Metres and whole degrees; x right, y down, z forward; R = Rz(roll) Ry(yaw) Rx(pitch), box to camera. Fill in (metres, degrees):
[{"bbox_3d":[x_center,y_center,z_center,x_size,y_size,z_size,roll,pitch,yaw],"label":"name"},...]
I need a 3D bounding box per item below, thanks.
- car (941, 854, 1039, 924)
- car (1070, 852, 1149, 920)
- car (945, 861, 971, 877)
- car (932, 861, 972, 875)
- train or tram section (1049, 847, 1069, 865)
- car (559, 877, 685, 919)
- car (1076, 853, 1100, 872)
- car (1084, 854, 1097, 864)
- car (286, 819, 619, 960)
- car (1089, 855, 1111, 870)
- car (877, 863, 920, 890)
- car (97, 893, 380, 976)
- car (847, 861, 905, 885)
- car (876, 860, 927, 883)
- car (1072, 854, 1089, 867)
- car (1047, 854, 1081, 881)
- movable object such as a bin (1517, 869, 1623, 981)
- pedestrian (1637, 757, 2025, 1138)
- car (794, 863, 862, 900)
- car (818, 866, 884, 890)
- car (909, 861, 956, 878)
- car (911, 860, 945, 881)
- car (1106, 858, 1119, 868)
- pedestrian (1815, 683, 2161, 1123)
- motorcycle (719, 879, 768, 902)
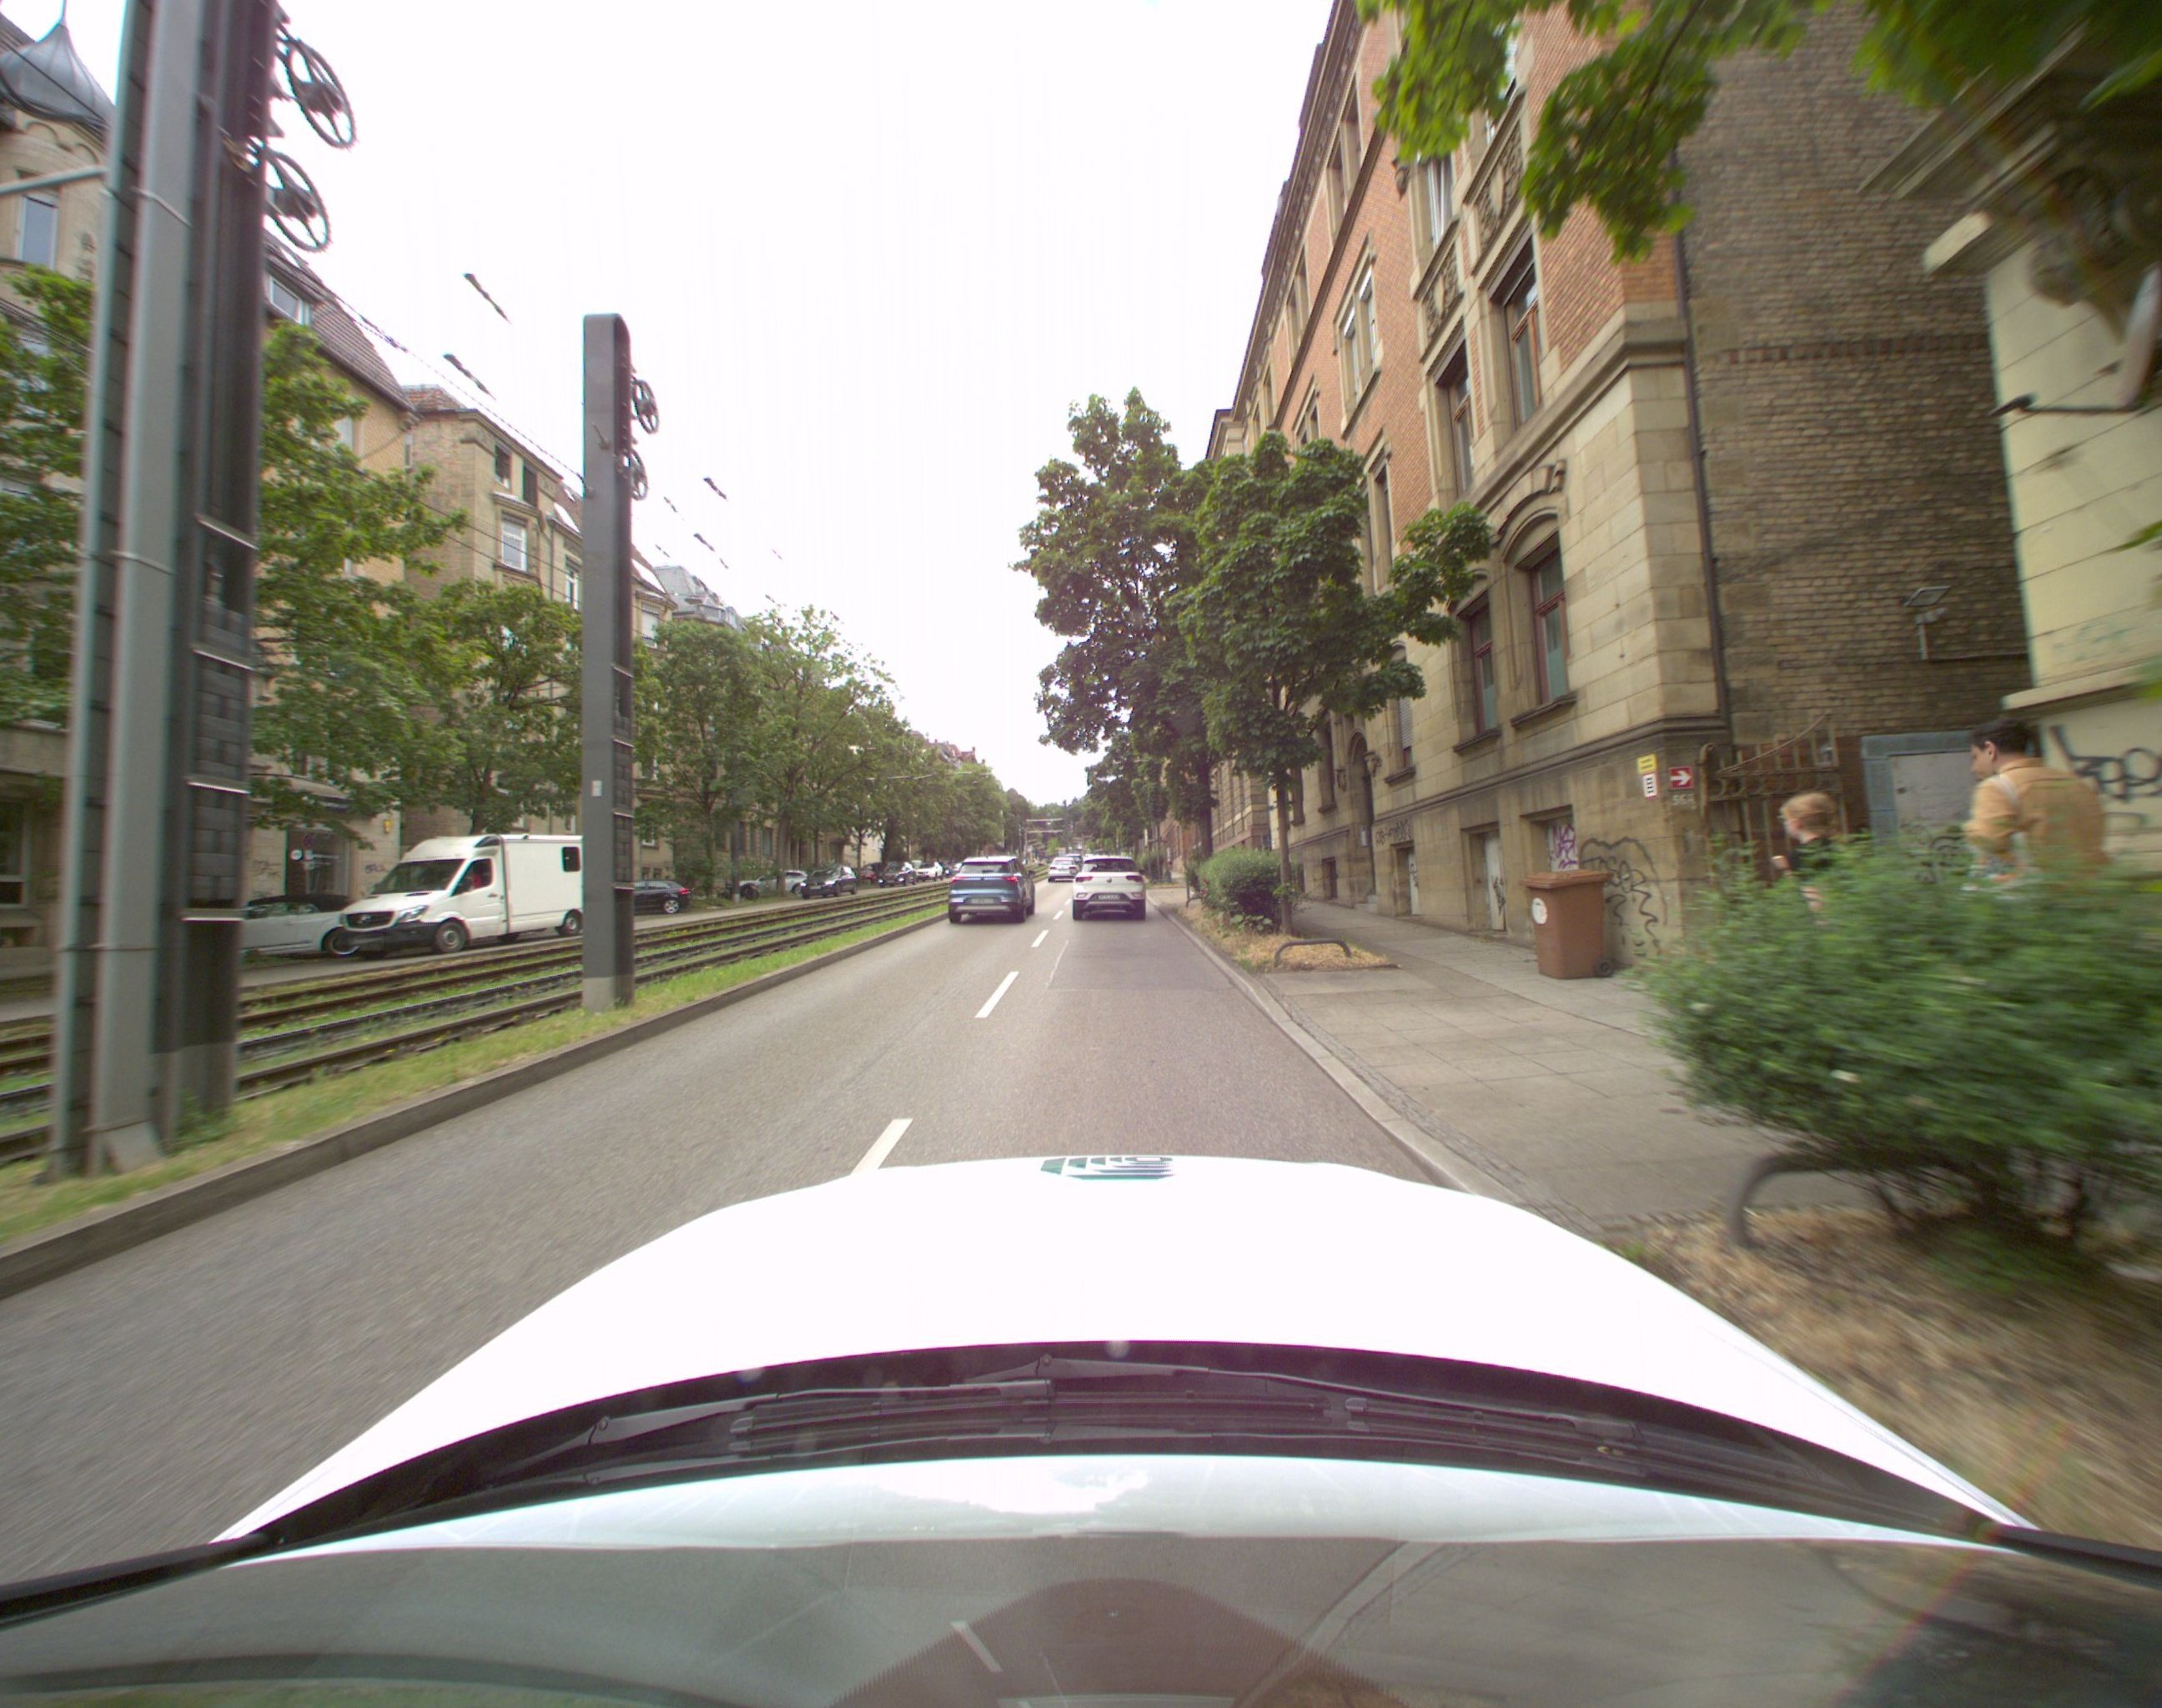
[{"bbox_3d":[-2.172,0.810,20.479,1.828,1.546,4.195,-1,-1,2],"label":"car"},{"bbox_3d":[0.691,0.766,20.992,1.829,1.546,4.193,-1,-1,1],"label":"car"},{"bbox_3d":[-12.134,1.460,80.674,1.718,1.410,4.599,-4,0,2],"label":"car"},{"bbox_3d":[-16.196,1.743,102.383,4.624,1.617,1.916,0,-1,-33],"label":"car"},{"bbox_3d":[-4.386,0.469,166.692,2.984,3.349,13.447,-2,-1,3],"label":"train or tram section"},{"bbox_3d":[-17.981,1.702,32.063,4.195,1.364,1.696,-2,0,-29],"label":"car"},{"bbox_3d":[0.623,0.742,68.907,1.828,1.546,4.195,-1,-1,2],"label":"car"},{"bbox_3d":[1.517,0.791,129.538,2.061,1.546,4.193,-1,-1,0],"label":"car"},{"bbox_3d":[-14.610,0.719,19.755,2.380,2.699,6.529,-4,0,6],"label":"car"},{"bbox_3d":[2.120,0.938,89.930,2.058,1.546,4.200,-1,-1,6],"label":"car"},{"bbox_3d":[-12.643,1.505,56.609,1.774,1.657,4.244,-4,0,2],"label":"car"},{"bbox_3d":[-18.515,1.710,18.188,4.012,1.422,1.769,-2,-1,-30],"label":"car"},{"bbox_3d":[-16.609,1.540,66.019,4.203,1.767,1.854,-2,0,-29],"label":"car"},{"bbox_3d":[-16.385,1.594,74.517,4.199,1.836,1.856,-2,0,-26],"label":"car"},{"bbox_3d":[-0.135,0.835,103.458,2.062,1.546,4.191,-1,-1,-1],"label":"car"},{"bbox_3d":[-1.027,0.822,49.996,1.828,1.546,4.195,-1,-1,2],"label":"car"},{"bbox_3d":[4.917,0.695,8.213,0.669,1.016,0.582,-4,2,-1],"label":"movable object such as a bin"},{"bbox_3d":[3.603,0.417,4.082,0.683,1.574,1.216,-4,-3,1],"label":"pedestrian"},{"bbox_3d":[-12.999,1.367,42.147,1.873,1.650,4.472,-4,0,2],"label":"car"},{"bbox_3d":[-16.564,1.723,58.665,4.169,1.469,1.768,-3,-1,-31],"label":"car"},{"bbox_3d":[-15.949,1.636,87.391,4.623,1.682,1.917,0,-1,-32],"label":"car"},{"bbox_3d":[-12.687,1.364,67.936,1.774,1.616,4.347,-4,0,2],"label":"car"},{"bbox_3d":[5.324,1.502,137.505,2.060,1.546,4.195,-1,-1,2],"label":"car"},{"bbox_3d":[4.550,0.214,4.013,0.683,1.830,1.121,-4,-3,1],"label":"pedestrian"},{"bbox_3d":[-16.999,1.833,41.027,2.214,1.058,0.619,-1,-1,-33],"label":"motorcycle"}]
